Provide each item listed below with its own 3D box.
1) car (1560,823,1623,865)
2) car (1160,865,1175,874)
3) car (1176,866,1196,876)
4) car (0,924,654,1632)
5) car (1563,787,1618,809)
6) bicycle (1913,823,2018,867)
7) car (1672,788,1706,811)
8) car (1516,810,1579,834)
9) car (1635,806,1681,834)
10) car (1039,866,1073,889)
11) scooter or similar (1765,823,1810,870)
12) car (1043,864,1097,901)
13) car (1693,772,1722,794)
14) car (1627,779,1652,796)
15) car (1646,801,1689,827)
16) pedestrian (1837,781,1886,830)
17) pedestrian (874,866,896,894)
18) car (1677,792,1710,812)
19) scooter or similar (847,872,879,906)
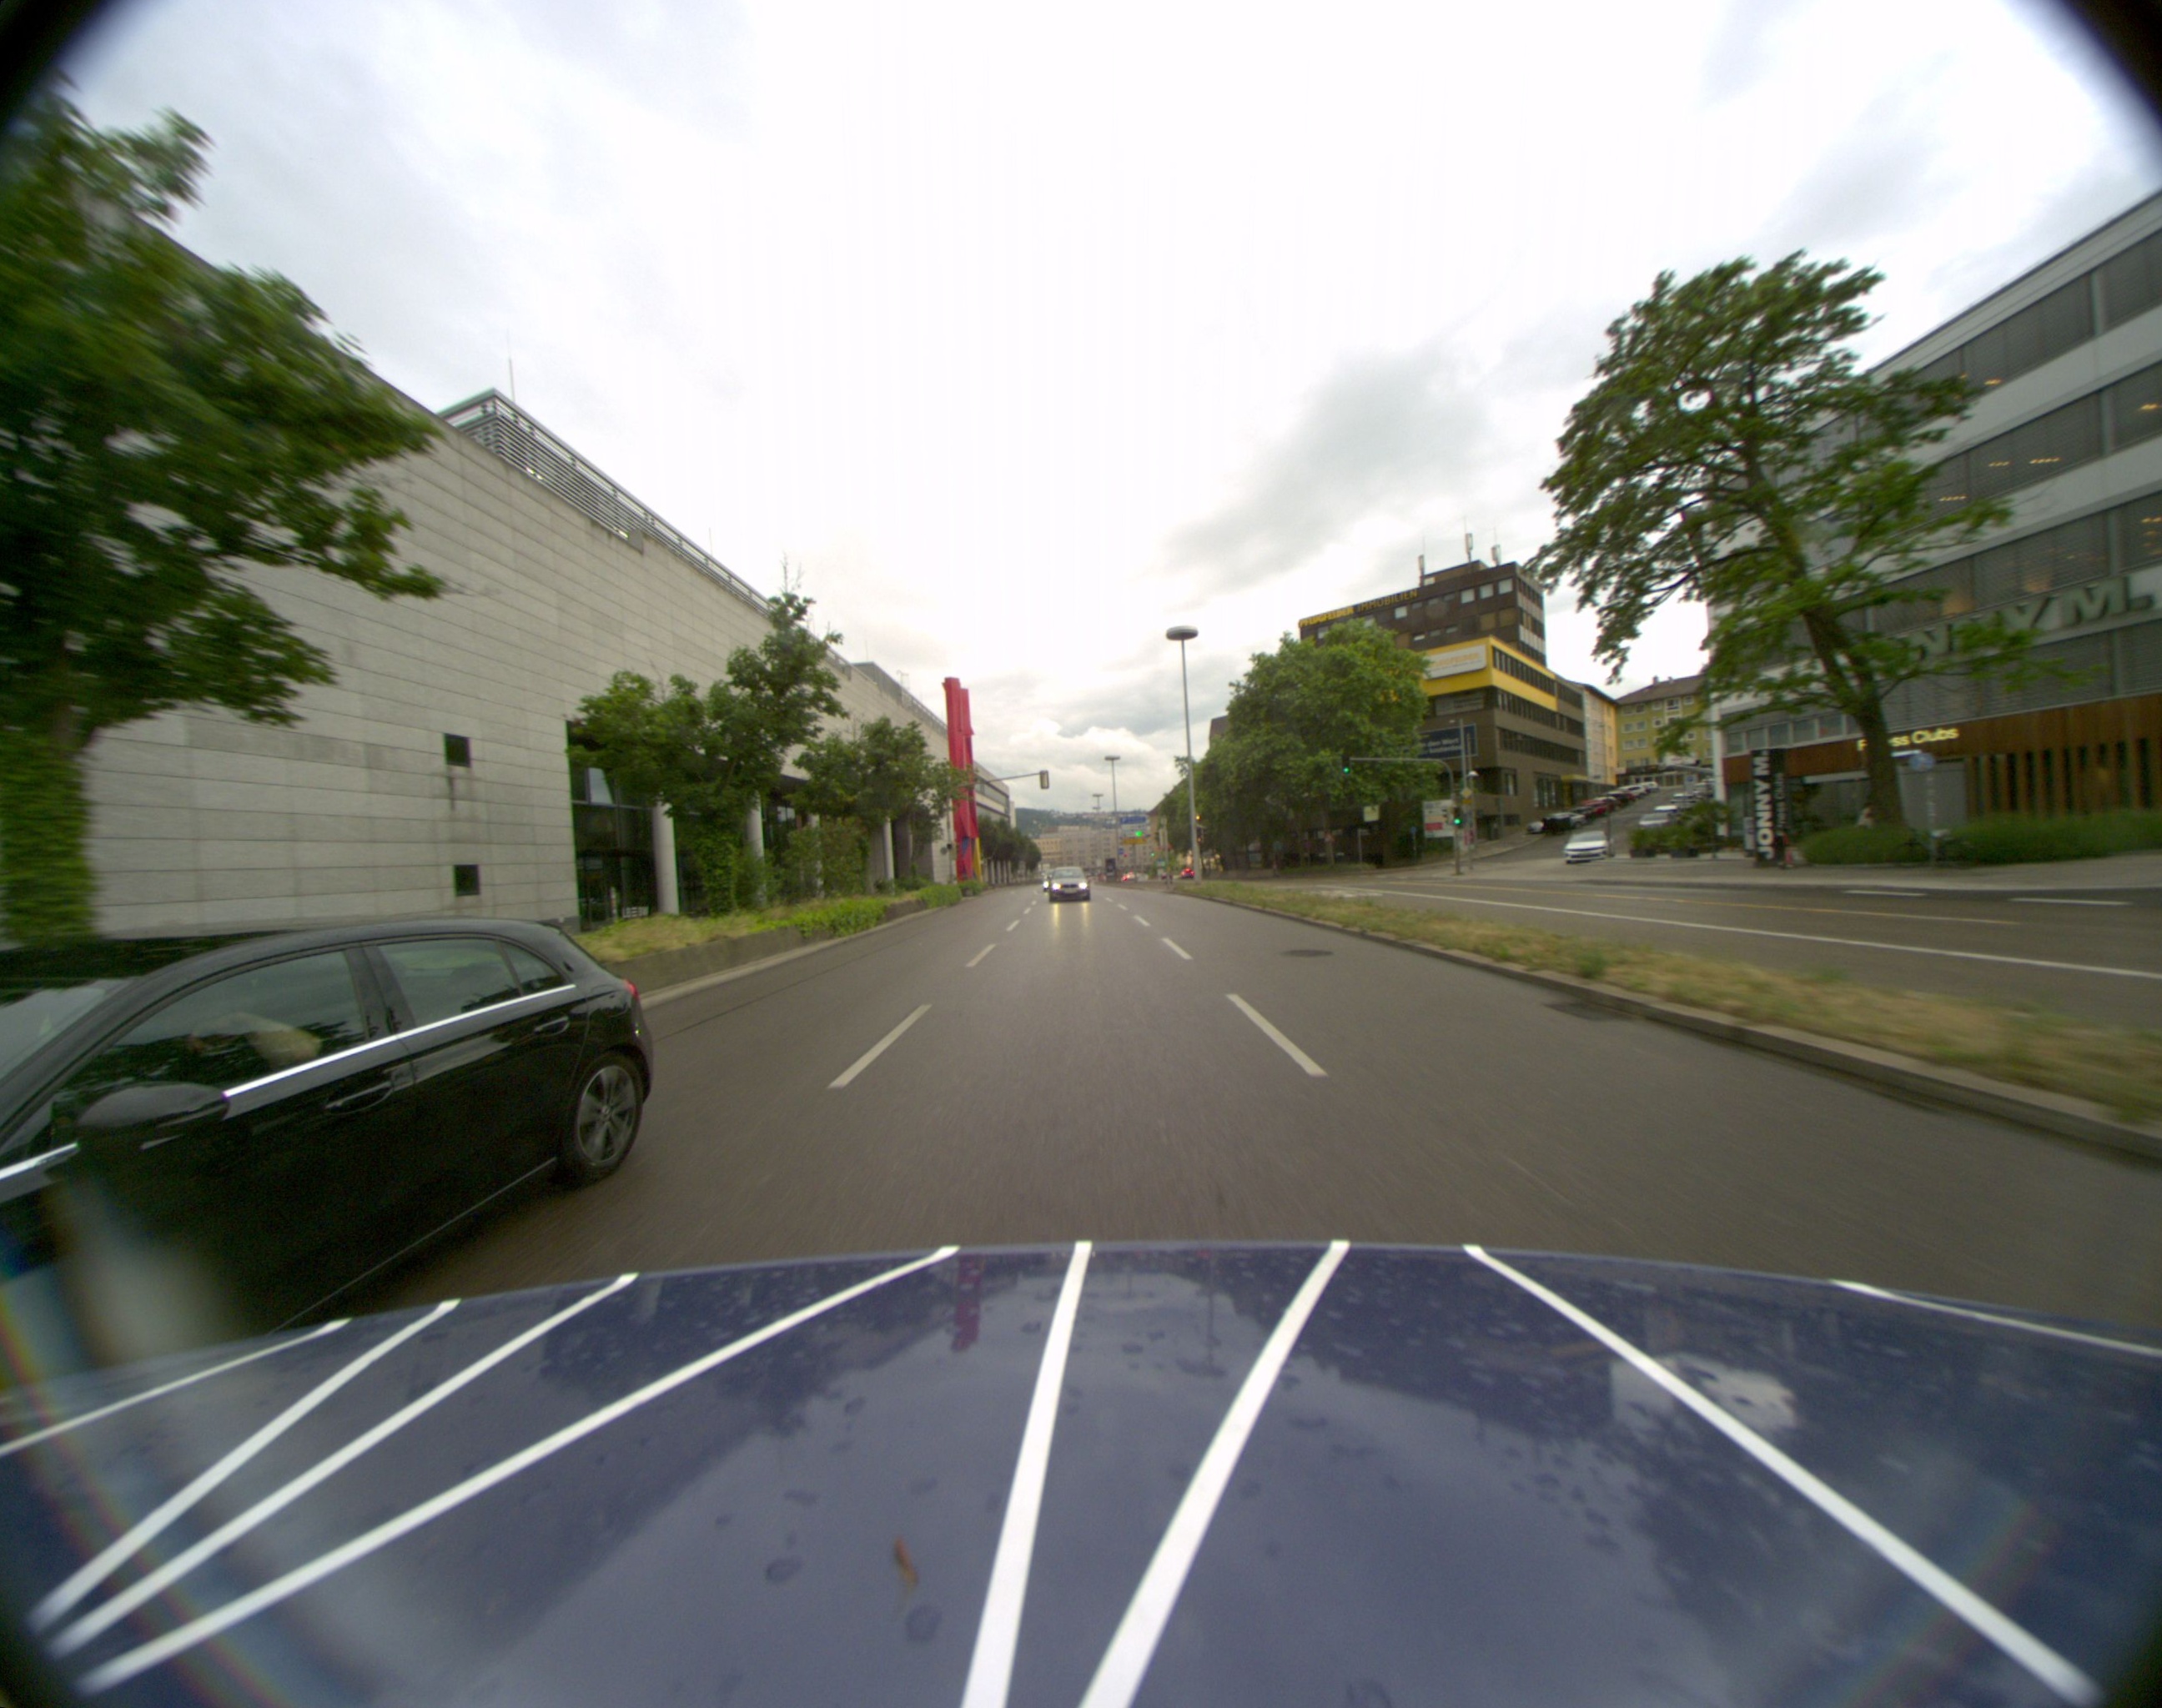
[{"bbox_3d":[25.296,-0.534,37.555,1.995,1.644,4.851,-5,0,40],"label":"car"},{"bbox_3d":[14.665,2.613,128.914,1.758,1.509,4.171,-2,-2,-2],"label":"car"},{"bbox_3d":[15.981,2.551,116.157,1.999,1.438,4.880,-2,-1,-5],"label":"car"},{"bbox_3d":[-3.388,1.088,2.172,1.877,1.427,4.206,-3,-2,1],"label":"car"},{"bbox_3d":[48.401,-5.286,72.162,3.989,1.675,1.823,-3,4,44],"label":"car"},{"bbox_3d":[21.219,-0.206,18.285,0.457,0.985,1.758,-4,0,1],"label":"bicycle"},{"bbox_3d":[51.551,-4.653,64.401,1.995,1.567,4.493,-3,5,42],"label":"car"},{"bbox_3d":[38.231,-2.619,62.328,3.990,1.674,1.824,-4,0,44],"label":"car"},{"bbox_3d":[38.129,-2.257,50.180,1.995,1.457,4.495,-5,0,42],"label":"car"},{"bbox_3d":[-1.603,1.541,49.749,1.863,1.449,4.207,-1,-2,3],"label":"car"},{"bbox_3d":[20.902,-0.224,22.464,1.757,1.240,0.369,-6,1,-28],"label":"scooter or similar"},{"bbox_3d":[-0.399,1.179,32.615,1.862,1.428,4.207,-2,-1,5],"label":"car"},{"bbox_3d":[65.472,-7.423,79.379,1.995,2.003,4.005,-3,4,44],"label":"car"},{"bbox_3d":[65.136,-7.745,88.570,1.815,1.675,4.005,-3,4,44],"label":"car"},{"bbox_3d":[41.988,-2.866,54.348,1.995,1.566,4.495,-5,0,42],"label":"car"},{"bbox_3d":[27.297,-1.684,26.599,0.770,1.631,0.842,-2,-1,0],"label":"pedestrian"},{"bbox_3d":[-11.286,1.482,43.763,0.972,1.576,0.842,-2,-1,-3],"label":"pedestrian"},{"bbox_3d":[55.567,-4.747,68.863,1.995,1.566,4.495,-5,0,42],"label":"car"},{"bbox_3d":[-10.505,1.685,36.612,1.326,1.521,0.503,-4,-1,3],"label":"scooter or similar"}]
